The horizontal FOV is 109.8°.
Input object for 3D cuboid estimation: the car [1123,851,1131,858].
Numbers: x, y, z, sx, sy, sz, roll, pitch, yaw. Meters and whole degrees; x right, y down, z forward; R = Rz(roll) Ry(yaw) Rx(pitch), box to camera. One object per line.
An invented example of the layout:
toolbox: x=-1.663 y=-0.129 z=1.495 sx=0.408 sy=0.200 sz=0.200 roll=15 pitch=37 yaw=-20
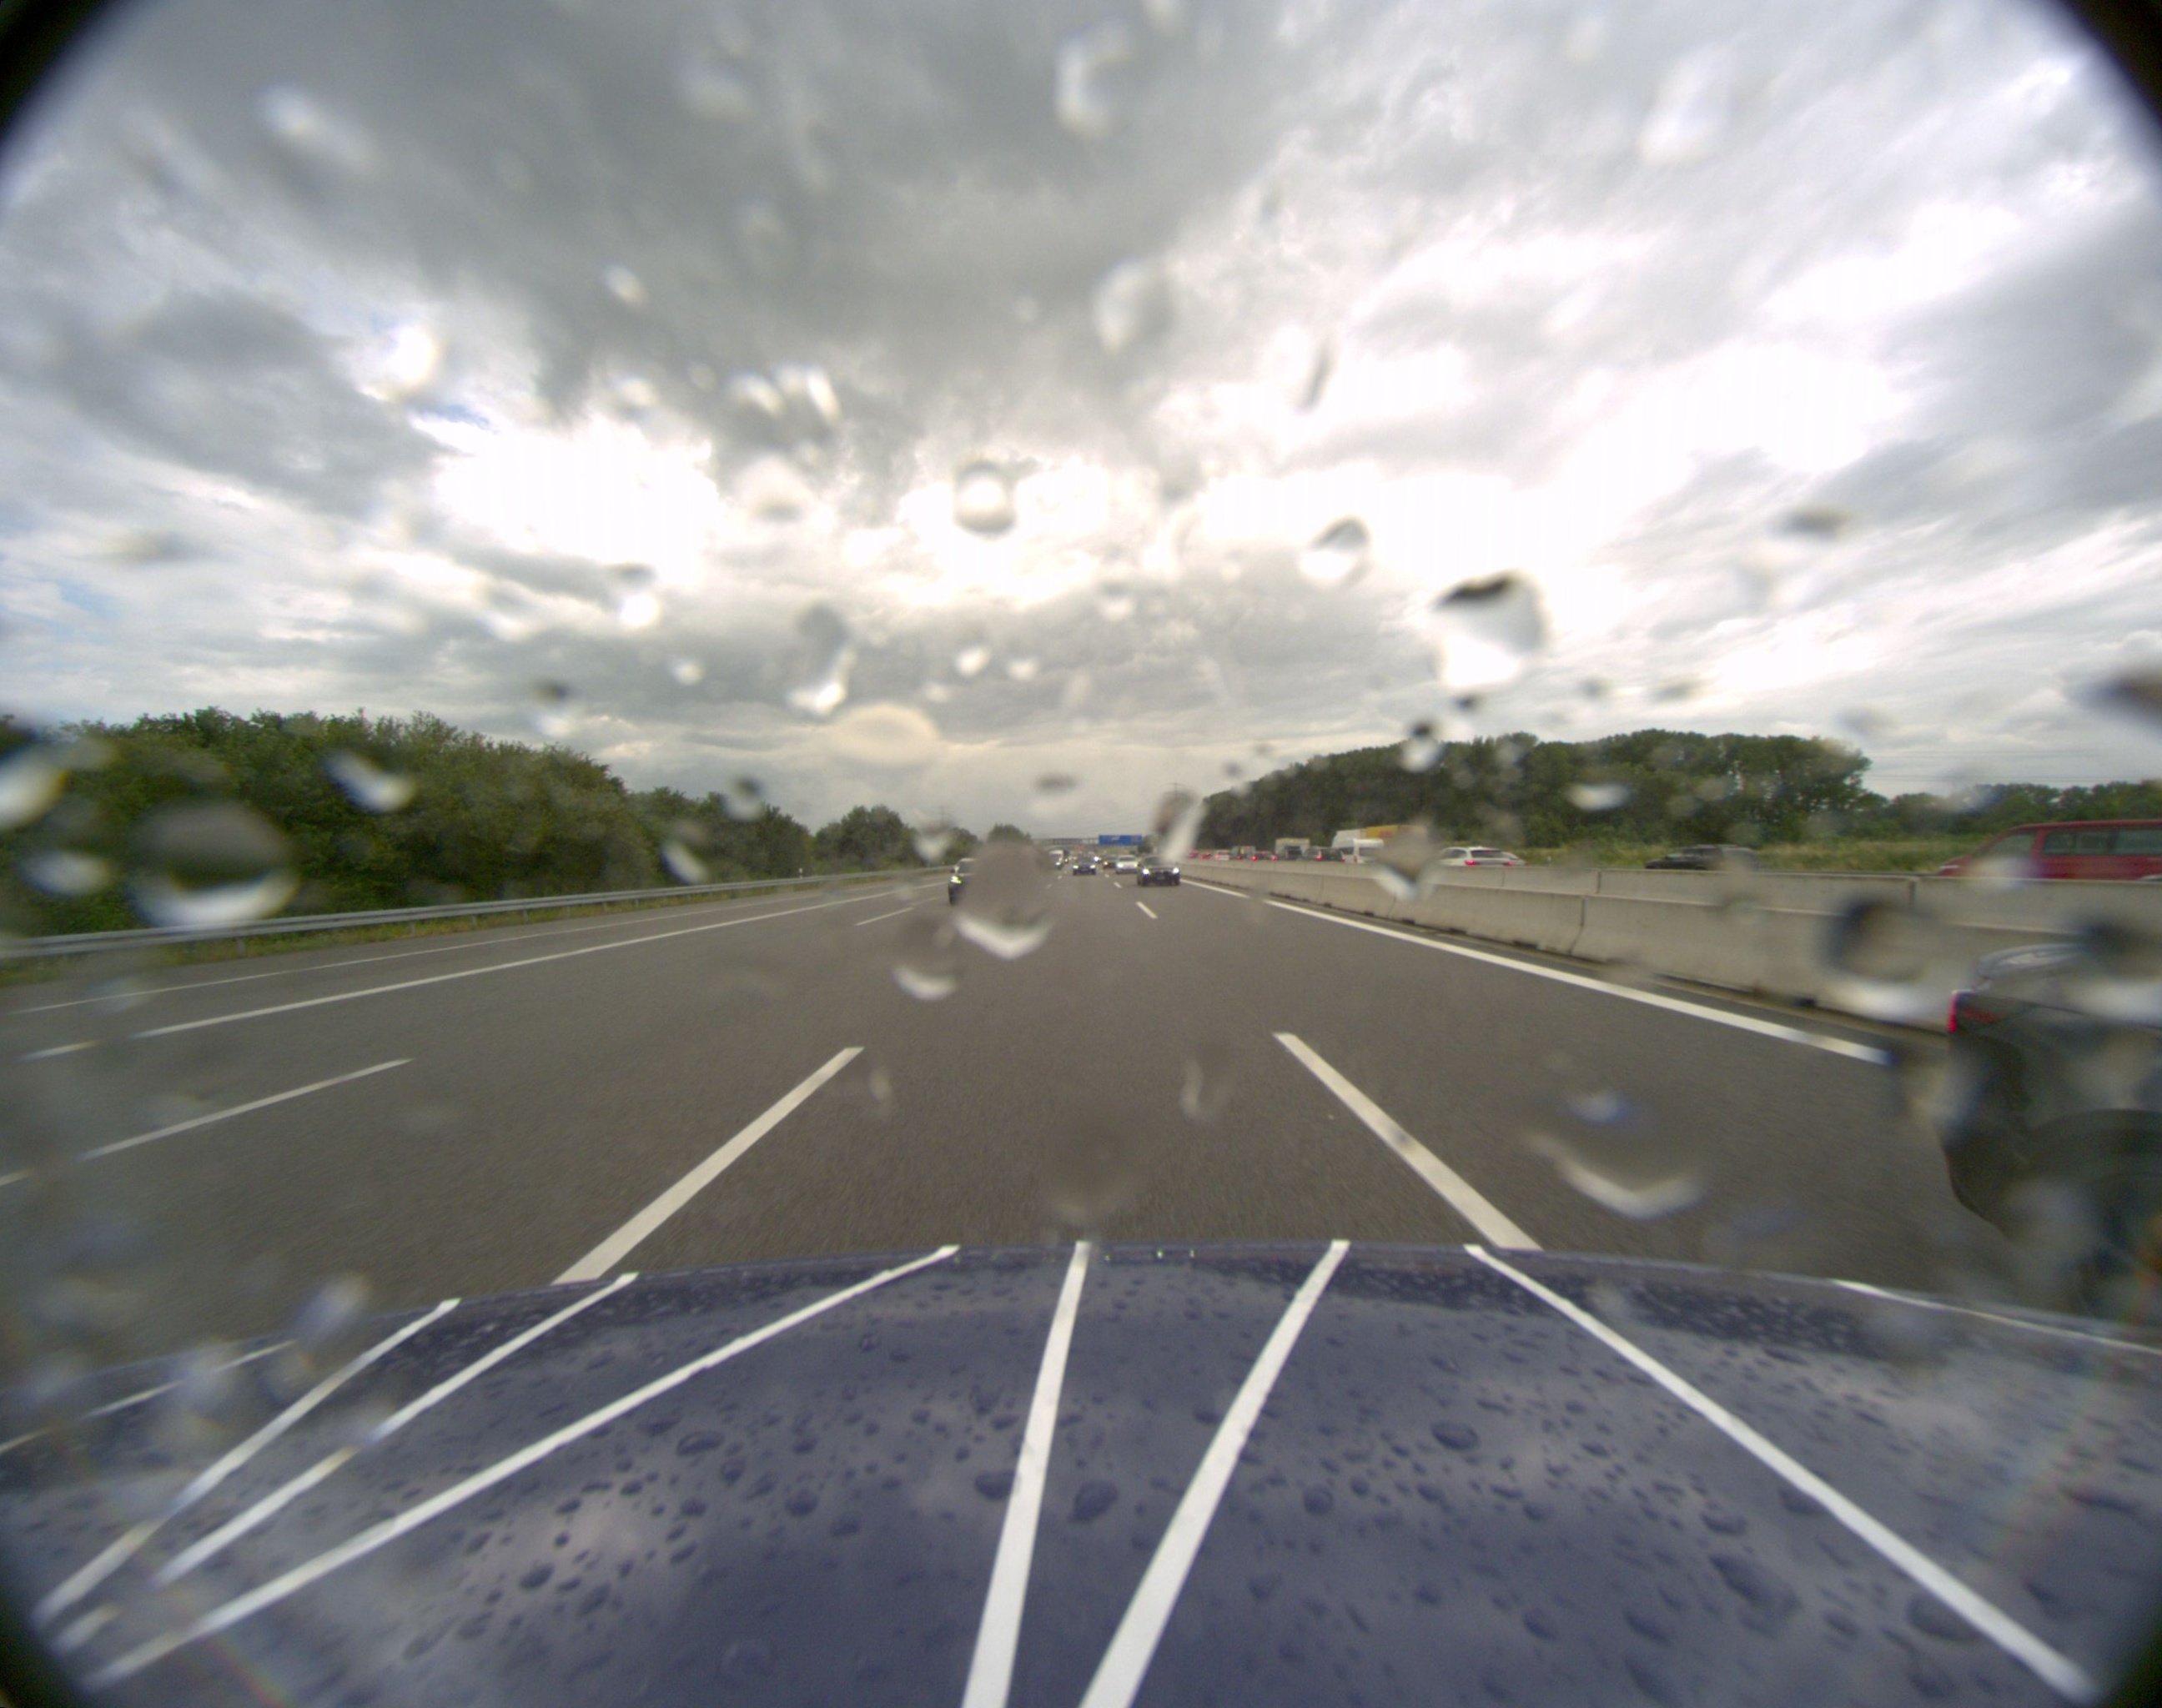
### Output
car: x=13.593 y=0.148 z=226.017 sx=1.998 sy=1.956 sz=4.696 roll=-2 pitch=0 yaw=0

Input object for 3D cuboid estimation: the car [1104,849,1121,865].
car: x=3.429 y=0.331 z=83.182 sx=1.711 sy=1.621 sz=4.000 roll=-2 pitch=0 yaw=1

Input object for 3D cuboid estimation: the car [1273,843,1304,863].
car: x=22.551 y=-0.145 z=82.603 sx=1.998 sy=2.002 sz=5.097 roll=-2 pitch=0 yaw=1

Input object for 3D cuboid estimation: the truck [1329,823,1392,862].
truck: x=28.734 y=-1.145 z=78.715 sx=2.885 sy=3.591 sz=10.311 roll=-2 pitch=0 yaw=1

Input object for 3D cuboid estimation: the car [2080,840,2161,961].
car: x=17.723 y=0.708 z=10.346 sx=1.998 sy=1.862 sz=4.760 roll=-2 pitch=0 yaw=1

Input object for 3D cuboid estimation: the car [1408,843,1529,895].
car: x=14.119 y=0.506 z=28.078 sx=1.998 sy=1.704 sz=4.871 roll=-2 pitch=0 yaw=0

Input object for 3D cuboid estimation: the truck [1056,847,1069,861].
truck: x=-3.826 y=-0.001 z=152.893 sx=2.392 sy=2.726 sz=6.592 roll=-2 pitch=0 yaw=-3

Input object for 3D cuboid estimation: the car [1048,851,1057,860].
car: x=-7.228 y=0.371 z=194.340 sx=1.999 sy=2.002 sz=4.354 roll=-2 pitch=0 yaw=-1

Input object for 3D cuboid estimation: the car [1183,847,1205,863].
car: x=14.289 y=0.142 z=96.251 sx=1.998 sy=1.892 sz=4.503 roll=-2 pitch=0 yaw=1

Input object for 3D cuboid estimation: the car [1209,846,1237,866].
car: x=14.466 y=0.181 z=77.866 sx=1.998 sy=2.002 sz=4.424 roll=-2 pitch=0 yaw=0

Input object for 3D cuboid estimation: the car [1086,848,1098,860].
car: x=2.169 y=-0.001 z=150.876 sx=2.145 sy=2.340 sz=5.448 roll=-2 pitch=0 yaw=1

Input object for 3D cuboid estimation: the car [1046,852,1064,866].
car: x=-2.990 y=0.571 z=87.644 sx=1.945 sy=1.482 sz=4.774 roll=-2 pitch=0 yaw=-2

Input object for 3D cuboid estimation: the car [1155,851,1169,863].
car: x=14.862 y=0.564 z=139.298 sx=1.998 sy=2.002 sz=4.696 roll=-2 pitch=0 yaw=0

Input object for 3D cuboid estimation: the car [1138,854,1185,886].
car: x=3.800 y=0.744 z=36.500 sx=1.922 sy=1.407 sz=4.000 roll=-1 pitch=0 yaw=2

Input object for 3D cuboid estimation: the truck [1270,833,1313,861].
truck: x=26.508 y=-0.868 z=96.103 sx=2.917 sy=3.271 sz=9.201 roll=-2 pitch=0 yaw=0

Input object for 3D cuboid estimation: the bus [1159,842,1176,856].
bus: x=21.952 y=-1.365 z=193.815 sx=2.694 sy=3.365 sz=13.997 roll=-2 pitch=0 yaw=0

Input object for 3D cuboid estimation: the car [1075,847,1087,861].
car: x=0.049 y=0.010 z=137.730 sx=2.145 sy=2.486 sz=5.448 roll=-2 pitch=0 yaw=1

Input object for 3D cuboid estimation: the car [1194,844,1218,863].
car: x=14.398 y=-0.048 z=87.662 sx=1.998 sy=2.002 sz=4.686 roll=-2 pitch=0 yaw=0

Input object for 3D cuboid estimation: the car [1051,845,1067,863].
car: x=-3.167 y=-0.002 z=111.114 sx=2.145 sy=2.486 sz=5.447 roll=-2 pitch=0 yaw=0

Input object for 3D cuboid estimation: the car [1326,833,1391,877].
car: x=21.928 y=0.087 z=60.482 sx=2.667 sy=3.258 sz=6.561 roll=-2 pitch=0 yaw=-1

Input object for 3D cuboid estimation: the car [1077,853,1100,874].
car: x=0.636 y=0.774 z=62.039 sx=1.711 sy=1.562 sz=4.346 roll=-2 pitch=0 yaw=1

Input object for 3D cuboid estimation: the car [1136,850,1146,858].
car: x=14.498 y=0.036 z=184.103 sx=1.998 sy=1.956 sz=4.696 roll=-2 pitch=0 yaw=0

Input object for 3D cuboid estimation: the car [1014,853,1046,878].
car: x=-3.466 y=0.751 z=52.536 sx=1.711 sy=1.621 sz=4.457 roll=-2 pitch=0 yaw=1

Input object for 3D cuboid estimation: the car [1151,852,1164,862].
car: x=14.729 y=0.564 z=146.233 sx=1.998 sy=1.956 sz=4.696 roll=-2 pitch=0 yaw=0

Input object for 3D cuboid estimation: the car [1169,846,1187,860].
car: x=14.716 y=-0.120 z=115.520 sx=1.998 sy=2.002 sz=5.418 roll=-2 pitch=0 yaw=0

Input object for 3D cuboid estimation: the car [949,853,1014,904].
car: x=-3.512 y=0.815 z=27.553 sx=1.785 sy=1.603 sz=4.597 roll=-2 pitch=0 yaw=-1

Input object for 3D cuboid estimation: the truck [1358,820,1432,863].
truck: x=28.557 y=-1.098 z=69.622 sx=2.885 sy=3.591 sz=9.580 roll=-2 pitch=0 yaw=1

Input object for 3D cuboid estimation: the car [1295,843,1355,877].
car: x=14.204 y=0.325 z=44.448 sx=1.998 sy=1.771 sz=4.672 roll=-2 pitch=0 yaw=0

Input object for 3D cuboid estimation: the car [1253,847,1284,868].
car: x=19.071 y=0.307 z=77.554 sx=1.998 sy=2.002 sz=4.813 roll=-2 pitch=0 yaw=0

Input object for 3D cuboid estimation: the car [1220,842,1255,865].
car: x=14.238 y=-0.043 z=69.506 sx=1.999 sy=2.002 sz=5.757 roll=-2 pitch=0 yaw=0

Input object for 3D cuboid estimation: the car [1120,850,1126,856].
car: x=13.860 y=-0.398 z=249.664 sx=1.808 sy=1.709 sz=4.000 roll=-2 pitch=0 yaw=0

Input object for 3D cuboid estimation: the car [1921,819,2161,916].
car: x=21.681 y=0.224 z=16.034 sx=1.998 sy=1.862 sz=5.392 roll=-2 pitch=0 yaw=1

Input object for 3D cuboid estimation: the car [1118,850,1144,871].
car: x=3.959 y=0.532 z=61.062 sx=1.822 sy=1.565 sz=4.000 roll=-2 pitch=0 yaw=1

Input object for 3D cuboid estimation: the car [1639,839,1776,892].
car: x=25.949 y=0.431 z=31.721 sx=1.998 sy=2.002 sz=4.542 roll=-2 pitch=0 yaw=1

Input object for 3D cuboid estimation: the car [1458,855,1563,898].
car: x=19.058 y=0.939 z=33.986 sx=1.998 sy=1.704 sz=4.699 roll=-2 pitch=0 yaw=0

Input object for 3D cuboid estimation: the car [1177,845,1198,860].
car: x=14.753 y=-0.168 z=105.493 sx=1.998 sy=2.002 sz=5.418 roll=-2 pitch=0 yaw=0

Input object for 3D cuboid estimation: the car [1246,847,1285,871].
car: x=14.203 y=0.395 z=58.725 sx=1.998 sy=1.739 sz=4.000 roll=-2 pitch=0 yaw=0

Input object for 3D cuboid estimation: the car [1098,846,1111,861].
car: x=4.031 y=-0.068 z=128.868 sx=2.145 sy=2.486 sz=5.448 roll=-2 pitch=0 yaw=2

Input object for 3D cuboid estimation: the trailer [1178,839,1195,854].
trailer: x=26.275 y=-1.801 z=189.747 sx=2.867 sy=3.740 sz=9.160 roll=-1 pitch=0 yaw=0

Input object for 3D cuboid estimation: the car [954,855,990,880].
car: x=-7.475 y=0.881 z=52.466 sx=1.815 sy=1.589 sz=4.695 roll=-2 pitch=0 yaw=-1
